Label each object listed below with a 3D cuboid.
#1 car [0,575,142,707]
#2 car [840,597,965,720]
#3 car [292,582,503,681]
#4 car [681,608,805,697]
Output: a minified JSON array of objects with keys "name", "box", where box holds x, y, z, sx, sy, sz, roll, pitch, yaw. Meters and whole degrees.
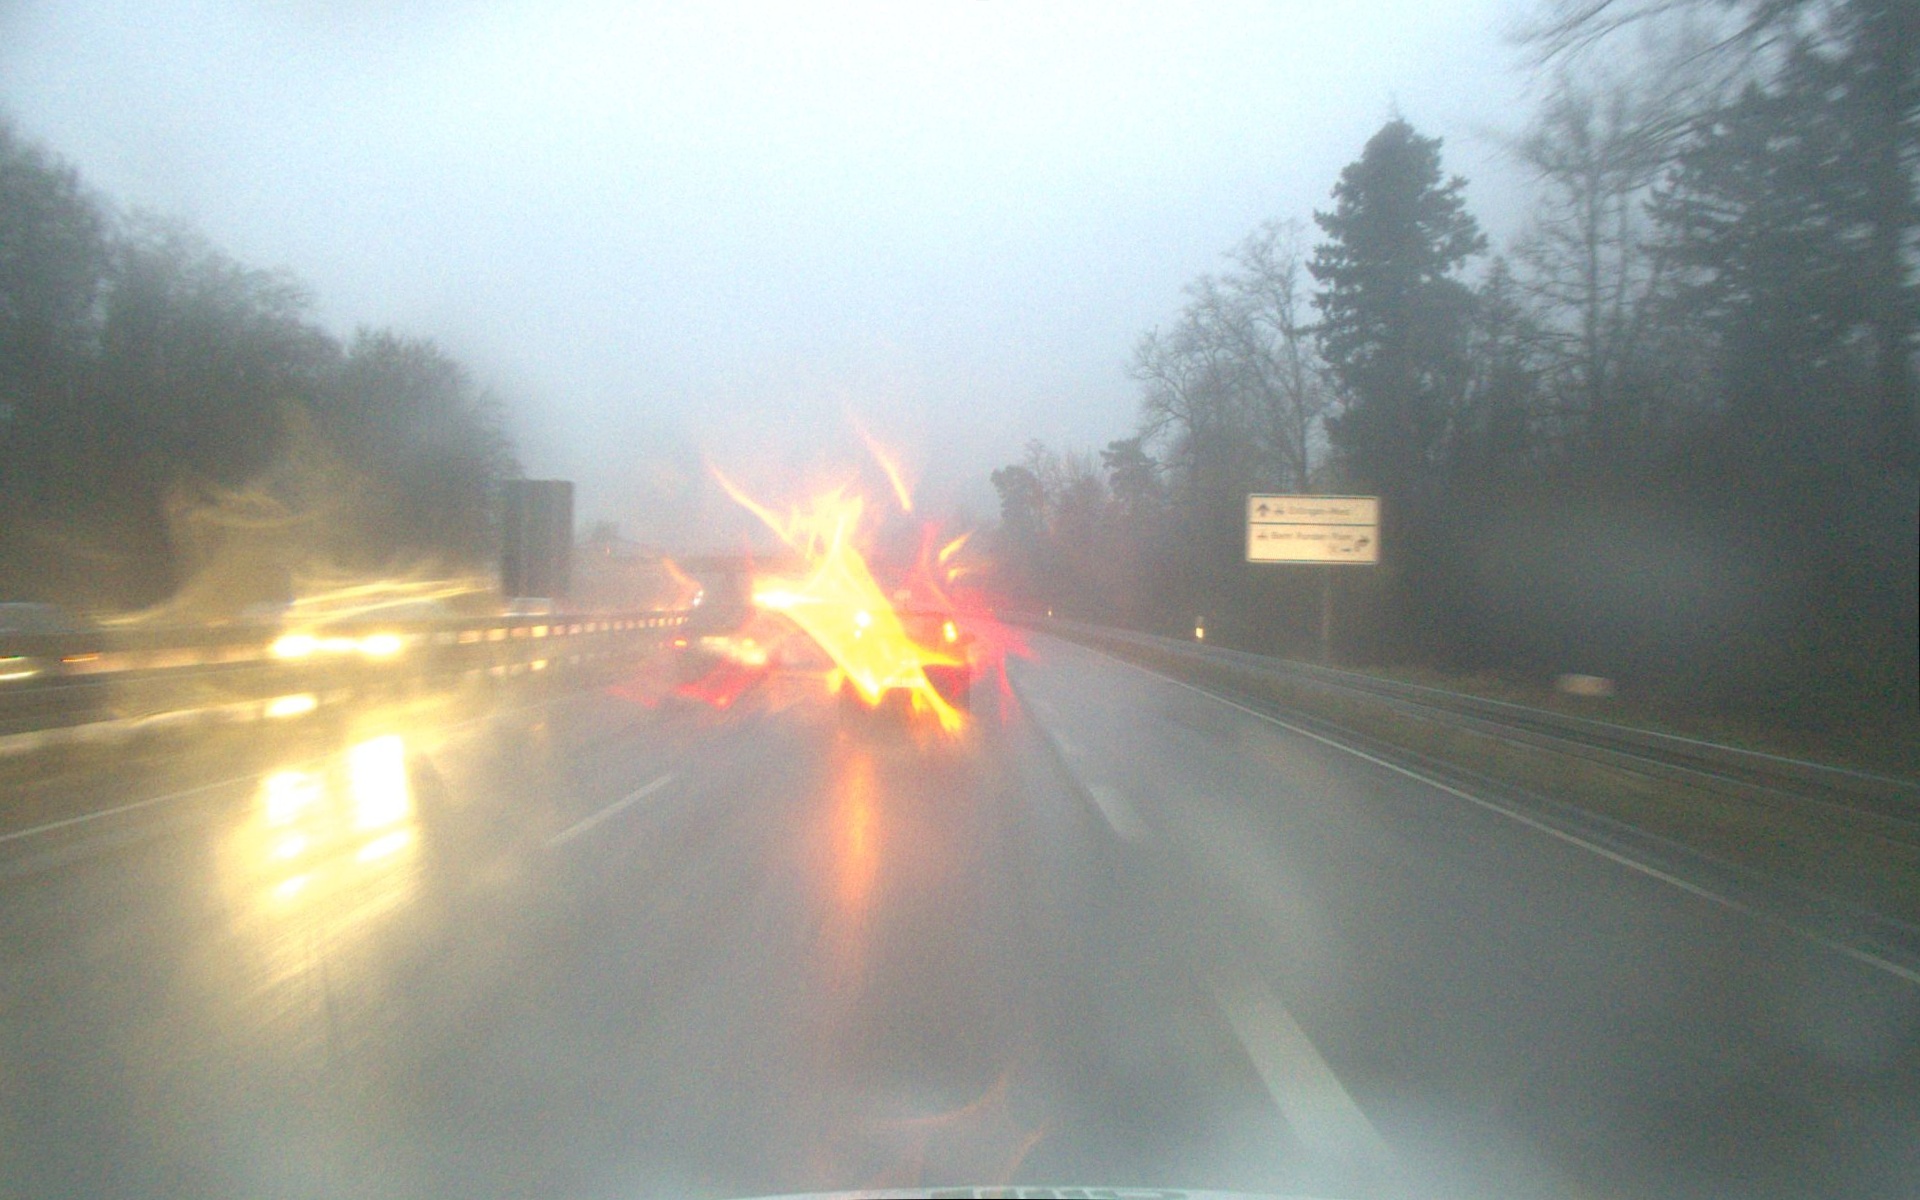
[{"name":"car","box":[-14.309,0.556,24.102,1.952,1.784,4.902,3,0,4]},{"name":"car","box":[-0.733,0.726,22.414,1.496,1.440,3.478,3,0,-1]},{"name":"car","box":[-10.257,0.522,30.652,1.953,1.552,5.374,3,0,0]},{"name":"car","box":[-4.139,0.970,32.232,1.739,1.561,4.702,-1,-1,0]}]
